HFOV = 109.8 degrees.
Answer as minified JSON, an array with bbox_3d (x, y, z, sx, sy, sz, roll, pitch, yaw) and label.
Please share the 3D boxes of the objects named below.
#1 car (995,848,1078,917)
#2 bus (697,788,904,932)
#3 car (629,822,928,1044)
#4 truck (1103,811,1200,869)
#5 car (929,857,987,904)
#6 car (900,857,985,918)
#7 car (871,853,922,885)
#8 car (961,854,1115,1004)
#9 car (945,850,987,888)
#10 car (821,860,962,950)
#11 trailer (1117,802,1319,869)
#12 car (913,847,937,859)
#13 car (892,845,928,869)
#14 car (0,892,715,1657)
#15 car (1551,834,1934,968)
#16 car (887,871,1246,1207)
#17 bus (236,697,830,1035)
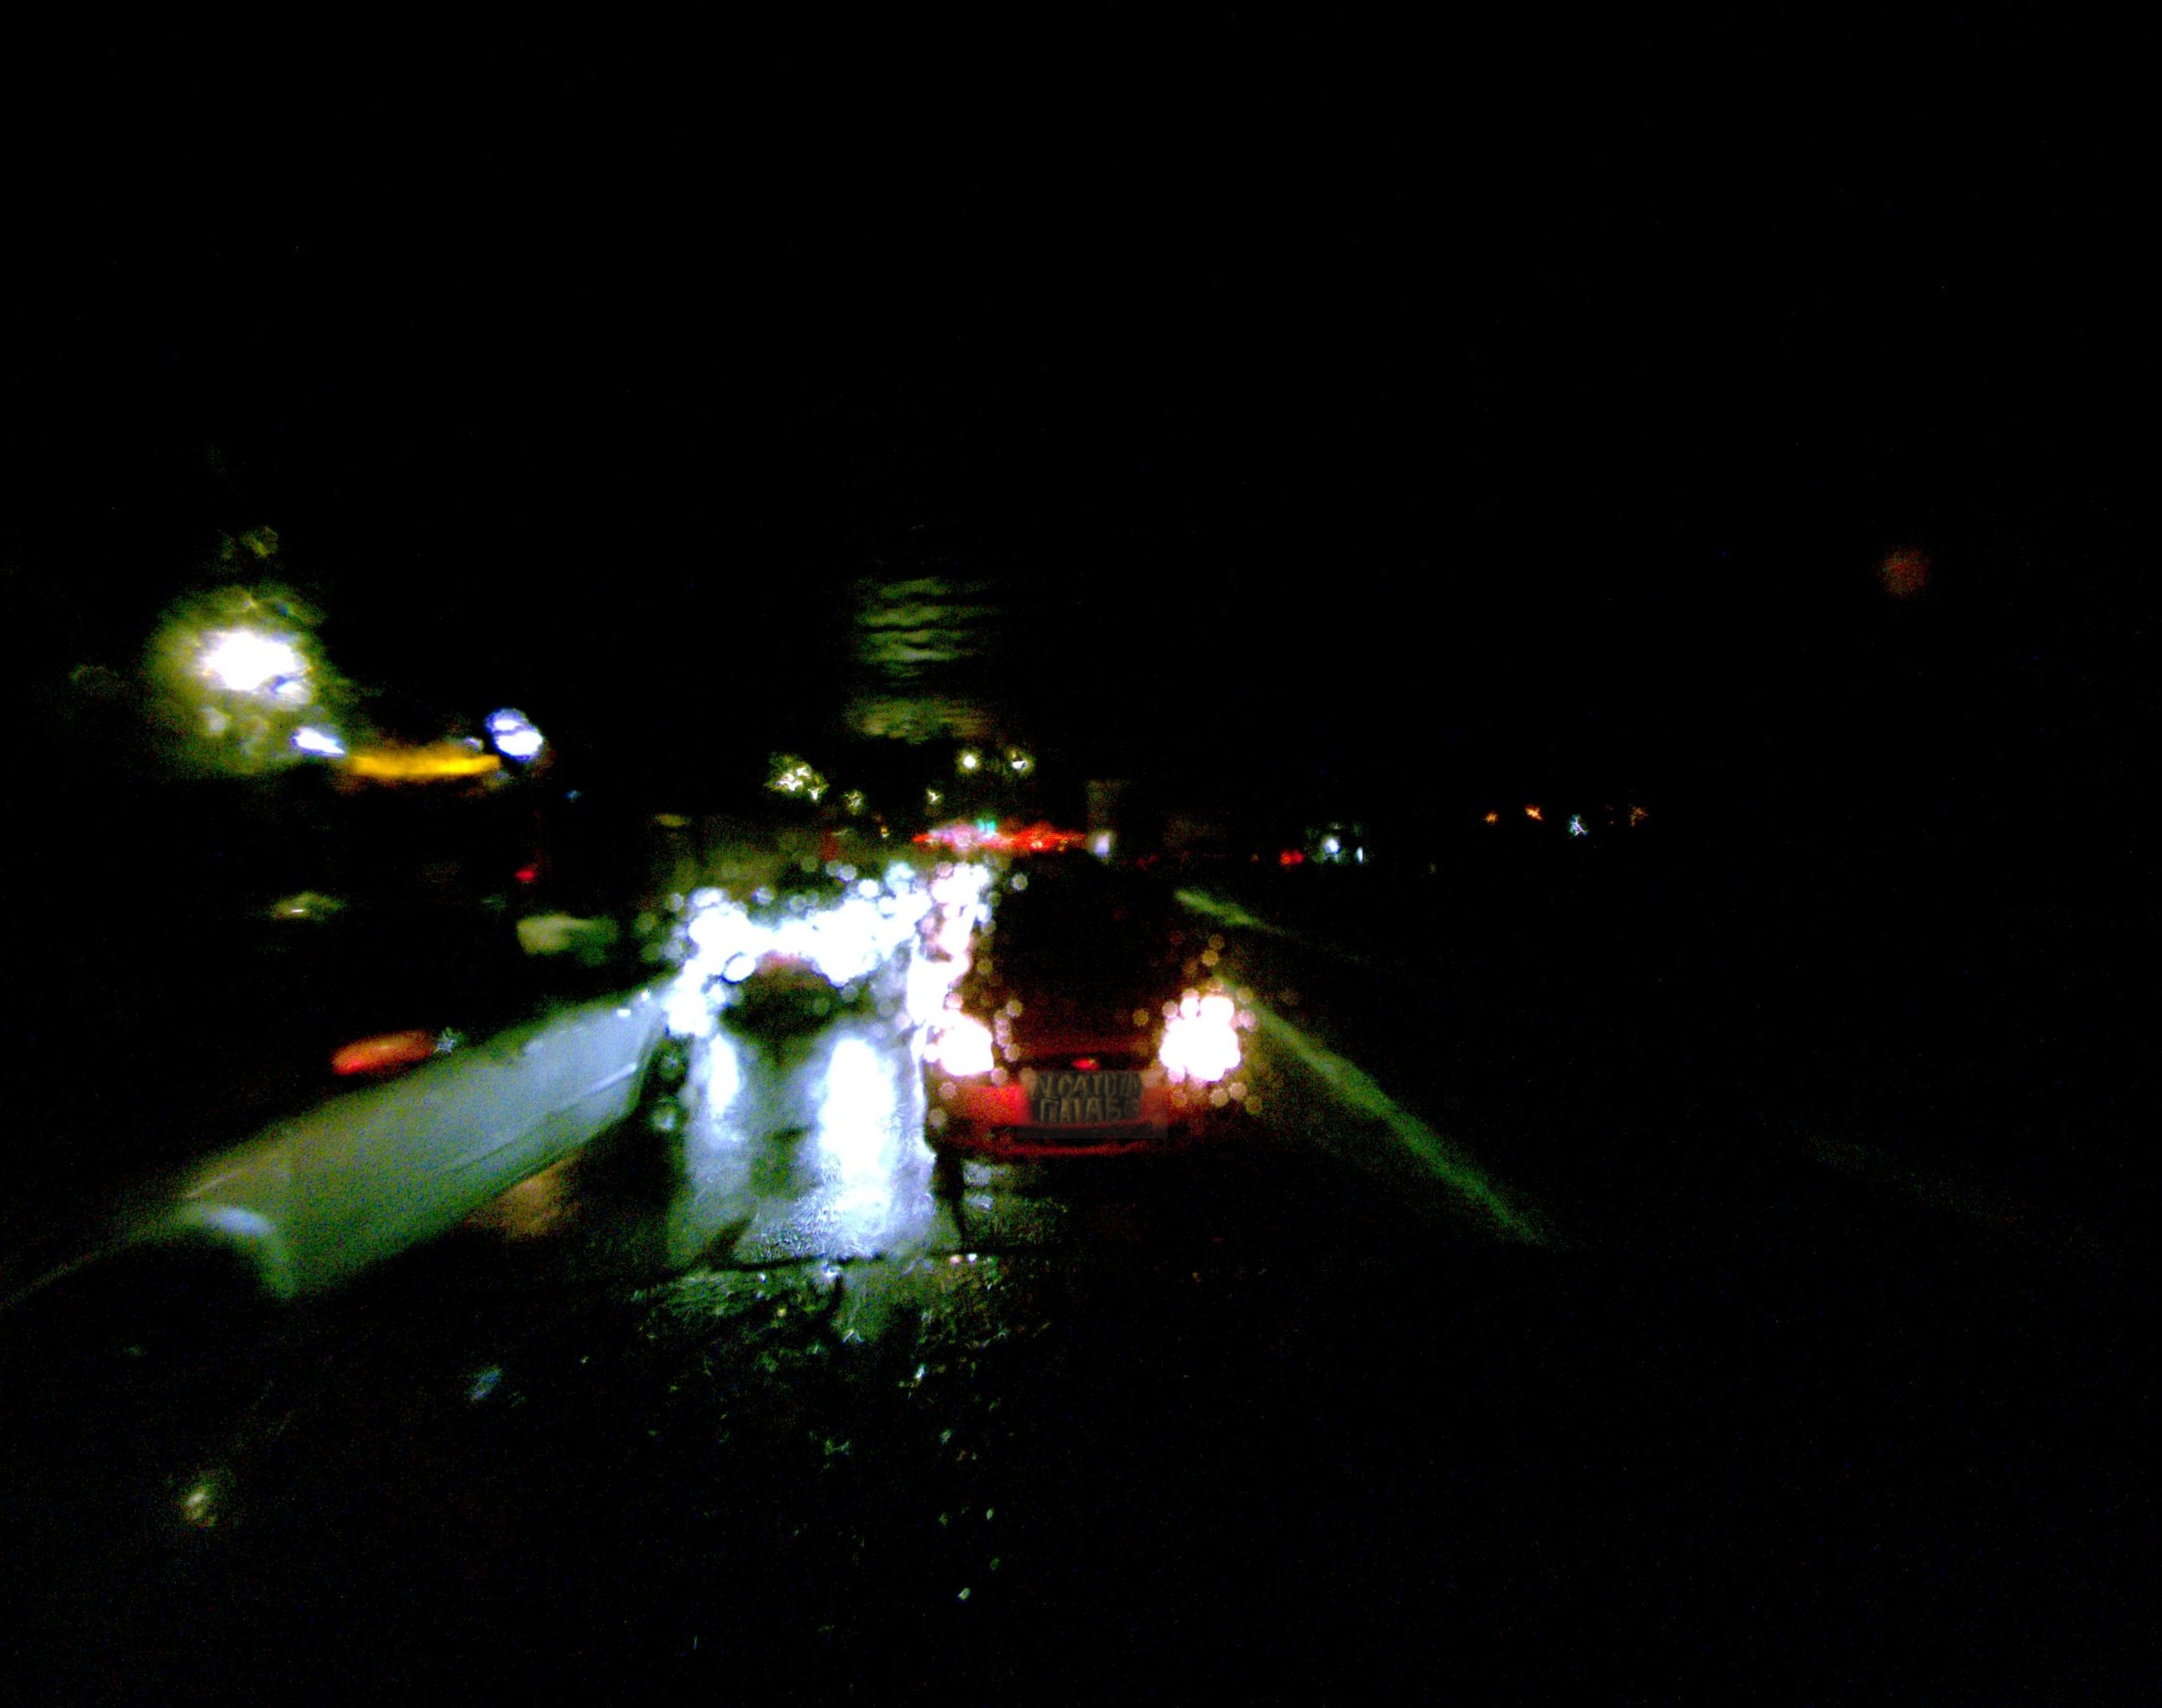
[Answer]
[{"bbox_3d":[-1.106,0.643,19.669,1.881,1.534,3.999,-2,1,-2],"label":"car"},{"bbox_3d":[-7.387,0.150,21.825,2.777,3.105,9.758,-2,0,-4],"label":"bus"},{"bbox_3d":[-3.364,0.746,9.543,1.999,2.076,4.347,-2,1,-1],"label":"car"},{"bbox_3d":[5.281,-1.004,57.908,3.976,4.152,6.360,-3,1,-38],"label":"truck"},{"bbox_3d":[-4.348,0.881,27.358,1.683,1.463,3.998,-2,1,-5],"label":"car"},{"bbox_3d":[-3.916,0.890,22.138,1.629,1.494,3.999,-2,1,1],"label":"car"},{"bbox_3d":[-9.524,0.727,39.523,1.843,1.469,4.626,-2,1,-5],"label":"car"},{"bbox_3d":[-0.461,0.848,10.584,1.683,1.591,3.996,-2,1,1],"label":"car"},{"bbox_3d":[-5.383,0.660,36.017,1.743,1.581,3.997,-2,1,-6],"label":"car"},{"bbox_3d":[-3.736,0.942,15.705,1.869,1.503,3.766,-2,1,1],"label":"car"},{"bbox_3d":[9.470,-1.157,54.467,13.881,4.152,3.977,-2,1,38],"label":"trailer"},{"bbox_3d":[-22.447,-0.139,109.337,2.003,1.596,3.990,-3,1,-33],"label":"car"},{"bbox_3d":[-11.308,0.186,50.471,1.854,1.476,4.626,-1,0,-7],"label":"car"},{"bbox_3d":[-3.181,1.004,2.645,1.792,1.359,3.999,-2,2,0],"label":"car"},{"bbox_3d":[10.541,0.614,12.799,1.970,1.731,4.916,-2,1,-3],"label":"car"},{"bbox_3d":[-0.041,0.905,5.473,1.603,1.360,3.942,-2,1,1],"label":"car"},{"bbox_3d":[-6.761,0.111,12.078,2.777,3.105,9.758,-2,0,-4],"label":"bus"}]
